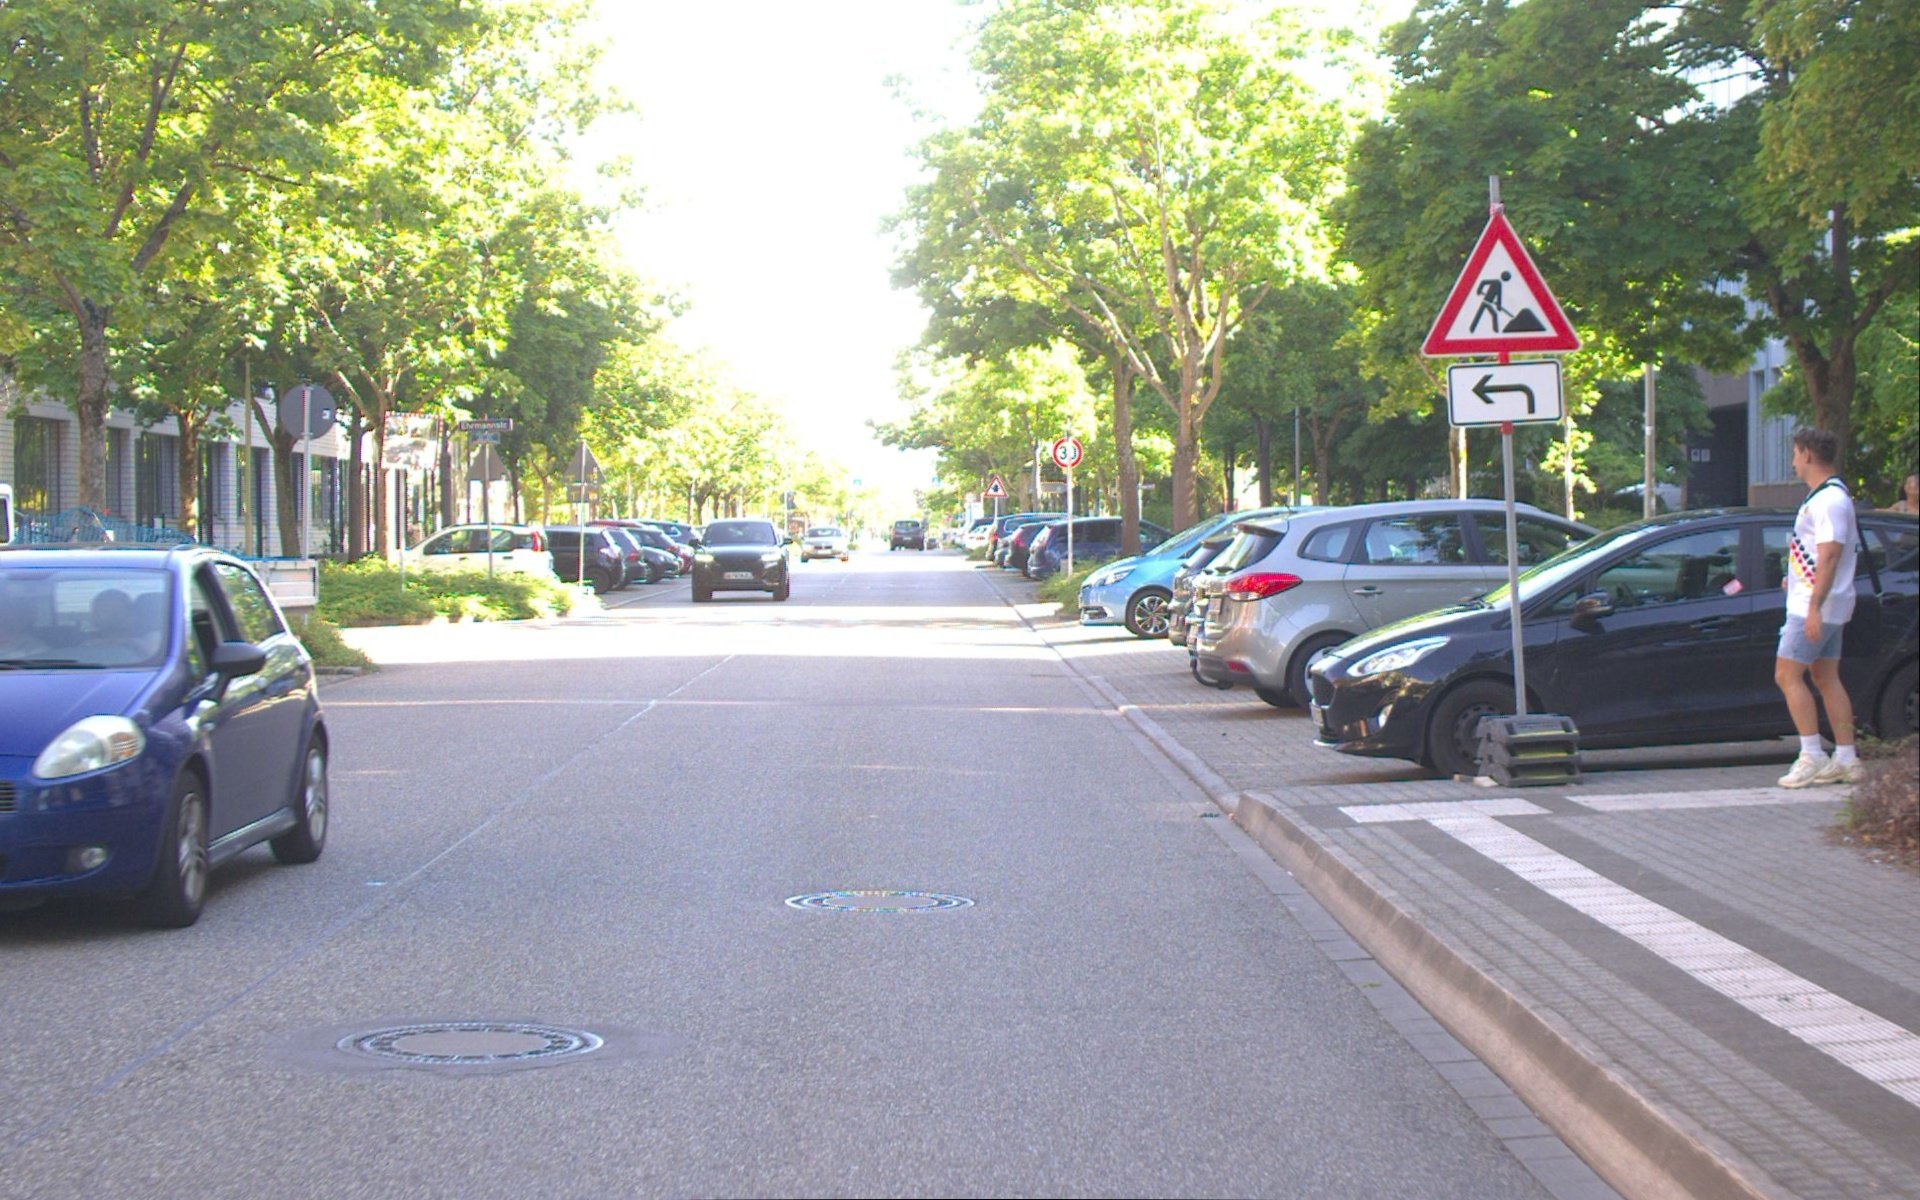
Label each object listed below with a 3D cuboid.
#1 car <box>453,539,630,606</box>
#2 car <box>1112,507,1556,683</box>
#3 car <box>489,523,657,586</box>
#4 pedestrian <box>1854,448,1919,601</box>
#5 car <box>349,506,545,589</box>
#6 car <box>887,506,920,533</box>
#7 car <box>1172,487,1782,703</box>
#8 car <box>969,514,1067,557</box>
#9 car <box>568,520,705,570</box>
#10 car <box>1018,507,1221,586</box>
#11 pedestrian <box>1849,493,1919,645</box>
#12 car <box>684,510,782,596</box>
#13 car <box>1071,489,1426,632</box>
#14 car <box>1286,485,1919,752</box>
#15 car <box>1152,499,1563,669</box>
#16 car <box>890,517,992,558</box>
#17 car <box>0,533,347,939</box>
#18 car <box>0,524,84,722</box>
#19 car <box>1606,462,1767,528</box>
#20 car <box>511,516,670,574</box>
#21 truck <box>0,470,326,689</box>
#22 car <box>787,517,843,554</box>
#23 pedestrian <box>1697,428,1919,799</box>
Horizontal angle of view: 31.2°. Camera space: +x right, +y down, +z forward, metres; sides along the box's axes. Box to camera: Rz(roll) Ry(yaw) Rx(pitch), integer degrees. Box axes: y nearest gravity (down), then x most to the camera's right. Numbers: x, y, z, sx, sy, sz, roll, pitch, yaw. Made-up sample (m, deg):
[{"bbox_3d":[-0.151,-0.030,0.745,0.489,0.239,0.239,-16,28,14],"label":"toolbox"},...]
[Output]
[{"bbox_3d":[-9.223,-0.615,76.017,3.732,1.459,1.677,0,1,-1],"label":"car"},{"bbox_3d":[3.446,-0.074,32.080,3.799,1.403,1.702,-3,2,-5],"label":"car"},{"bbox_3d":[-8.994,-1.067,80.087,3.732,1.459,1.677,0,1,-1],"label":"car"},{"bbox_3d":[10.852,-0.879,39.514,0.695,1.705,0.921,-4,2,-11],"label":"pedestrian"},{"bbox_3d":[-9.864,-1.002,66.301,3.580,1.544,1.637,0,-1,-3],"label":"car"},{"bbox_3d":[-3.345,-4.781,204.564,1.933,1.592,4.367,-1,1,-1],"label":"car"},{"bbox_3d":[3.975,-0.071,26.847,4.351,1.592,1.940,0,1,-7],"label":"car"},{"bbox_3d":[2.460,-2.756,146.743,3.986,1.786,2.000,0,1,-5],"label":"car"},{"bbox_3d":[-9.522,-1.637,101.317,3.892,1.459,1.858,0,1,-1],"label":"car"},{"bbox_3d":[3.471,-1.184,75.346,4.267,1.628,1.858,-1,1,-3],"label":"car"},{"bbox_3d":[9.082,-0.309,33.348,0.700,1.453,0.716,-1,1,-3],"label":"pedestrian"},{"bbox_3d":[-4.594,-0.984,69.955,1.891,1.678,4.353,-1,1,-3],"label":"car"},{"bbox_3d":[3.749,-0.532,45.252,4.405,1.612,1.912,-3,1,-1],"label":"car"},{"bbox_3d":[3.940,0.076,19.589,3.934,1.434,1.775,0,1,-2],"label":"car"},{"bbox_3d":[3.950,-0.187,34.625,3.846,1.478,1.825,-3,2,-1],"label":"car"},{"bbox_3d":[-0.795,-2.544,139.884,3.986,1.619,2.000,0,1,-5],"label":"car"},{"bbox_3d":[-3.677,0.445,14.130,1.643,1.415,4.000,0,1,-1],"label":"car"},{"bbox_3d":[-8.805,0.141,25.751,3.987,1.430,1.789,0,1,3],"label":"car"},{"bbox_3d":[20.865,-2.998,98.842,4.071,1.777,2.000,1,1,-4],"label":"car"},{"bbox_3d":[-9.458,-1.409,88.210,3.892,1.459,1.858,0,1,-1],"label":"car"},{"bbox_3d":[-8.586,-0.201,31.852,4.985,1.952,2.138,0,1,2],"label":"truck"},{"bbox_3d":[-5.645,-2.525,133.906,1.813,1.410,4.107,0,2,3],"label":"car"},{"bbox_3d":[4.185,0.047,16.635,0.917,1.705,0.698,-4,2,-14],"label":"pedestrian"}]
